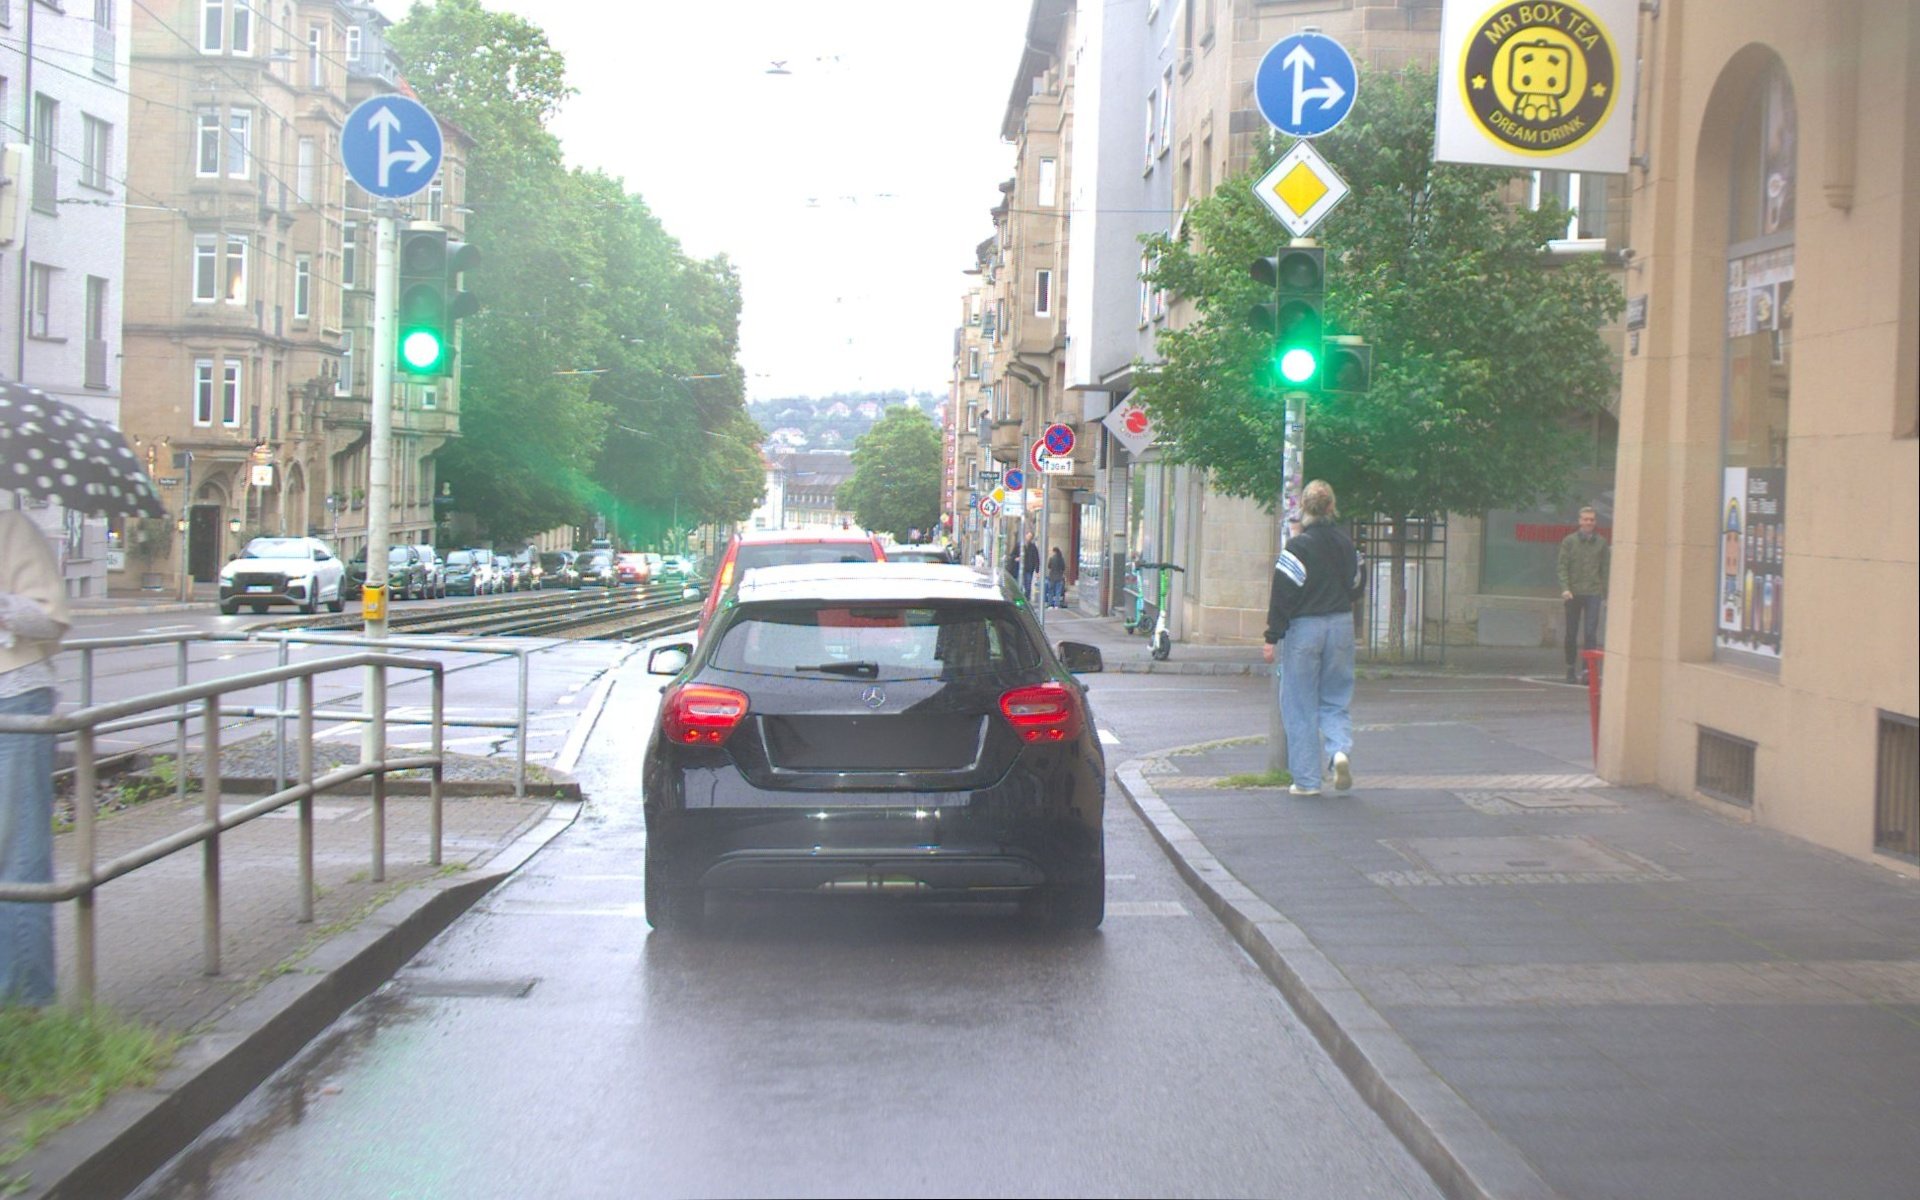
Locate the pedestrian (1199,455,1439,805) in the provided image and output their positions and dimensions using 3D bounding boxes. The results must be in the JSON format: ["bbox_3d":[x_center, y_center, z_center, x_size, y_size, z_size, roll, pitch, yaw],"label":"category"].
[{"bbox_3d":[1.961,0.155,18.868,0.899,1.834,0.969,-3,1,-21],"label":"pedestrian"}]

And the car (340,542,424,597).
[{"bbox_3d":[-16.746,-0.894,99.740,1.722,1.536,3.934,0,1,1],"label":"car"}]

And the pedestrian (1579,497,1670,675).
[{"bbox_3d":[6.756,-0.150,34.999,0.682,1.782,0.902,-1,1,-4],"label":"pedestrian"}]

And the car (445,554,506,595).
[{"bbox_3d":[-16.916,-0.913,120.134,1.569,1.408,3.481,0,1,1],"label":"car"}]

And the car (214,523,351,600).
[{"bbox_3d":[-14.673,-0.828,74.736,1.993,1.622,5.253,0,0,-1],"label":"car"}]

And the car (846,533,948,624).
[{"bbox_3d":[-1.121,-0.398,61.652,1.765,1.553,4.746,0,1,-1],"label":"car"}]

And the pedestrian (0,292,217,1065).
[{"bbox_3d":[-2.627,0.190,9.434,0.926,2.007,0.947,2,1,-1],"label":"pedestrian"}]

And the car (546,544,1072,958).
[{"bbox_3d":[-0.516,0.511,14.429,1.866,1.447,4.000,2,1,1],"label":"car"}]

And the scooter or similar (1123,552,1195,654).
[{"bbox_3d":[2.388,0.027,41.407,0.638,1.206,1.553,0,1,-5],"label":"scooter or similar"}]

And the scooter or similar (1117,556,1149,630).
[{"bbox_3d":[2.855,-0.122,56.749,0.395,1.212,1.107,1,1,-3],"label":"scooter or similar"}]

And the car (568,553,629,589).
[{"bbox_3d":[-14.201,-1.161,135.295,1.948,1.392,4.274,0,1,0],"label":"car"}]

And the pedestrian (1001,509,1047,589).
[{"bbox_3d":[1.426,-1.139,77.003,0.945,1.763,1.015,1,1,-3],"label":"pedestrian"}]

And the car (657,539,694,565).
[{"bbox_3d":[-15.624,-2.642,188.618,1.695,1.384,3.481,0,1,1],"label":"car"}]

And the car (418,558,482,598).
[{"bbox_3d":[-17.020,-0.732,114.749,1.569,1.312,3.481,0,1,1],"label":"car"}]

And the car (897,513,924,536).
[{"bbox_3d":[-3.063,-4.708,213.729,1.613,1.313,4.000,2,1,-1],"label":"car"}]

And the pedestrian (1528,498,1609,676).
[{"bbox_3d":[6.169,-0.136,34.868,0.594,1.782,0.891,-1,1,-4],"label":"pedestrian"}]

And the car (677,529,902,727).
[{"bbox_3d":[-1.393,0.179,27.827,1.649,1.447,4.001,1,1,-3],"label":"car"}]
